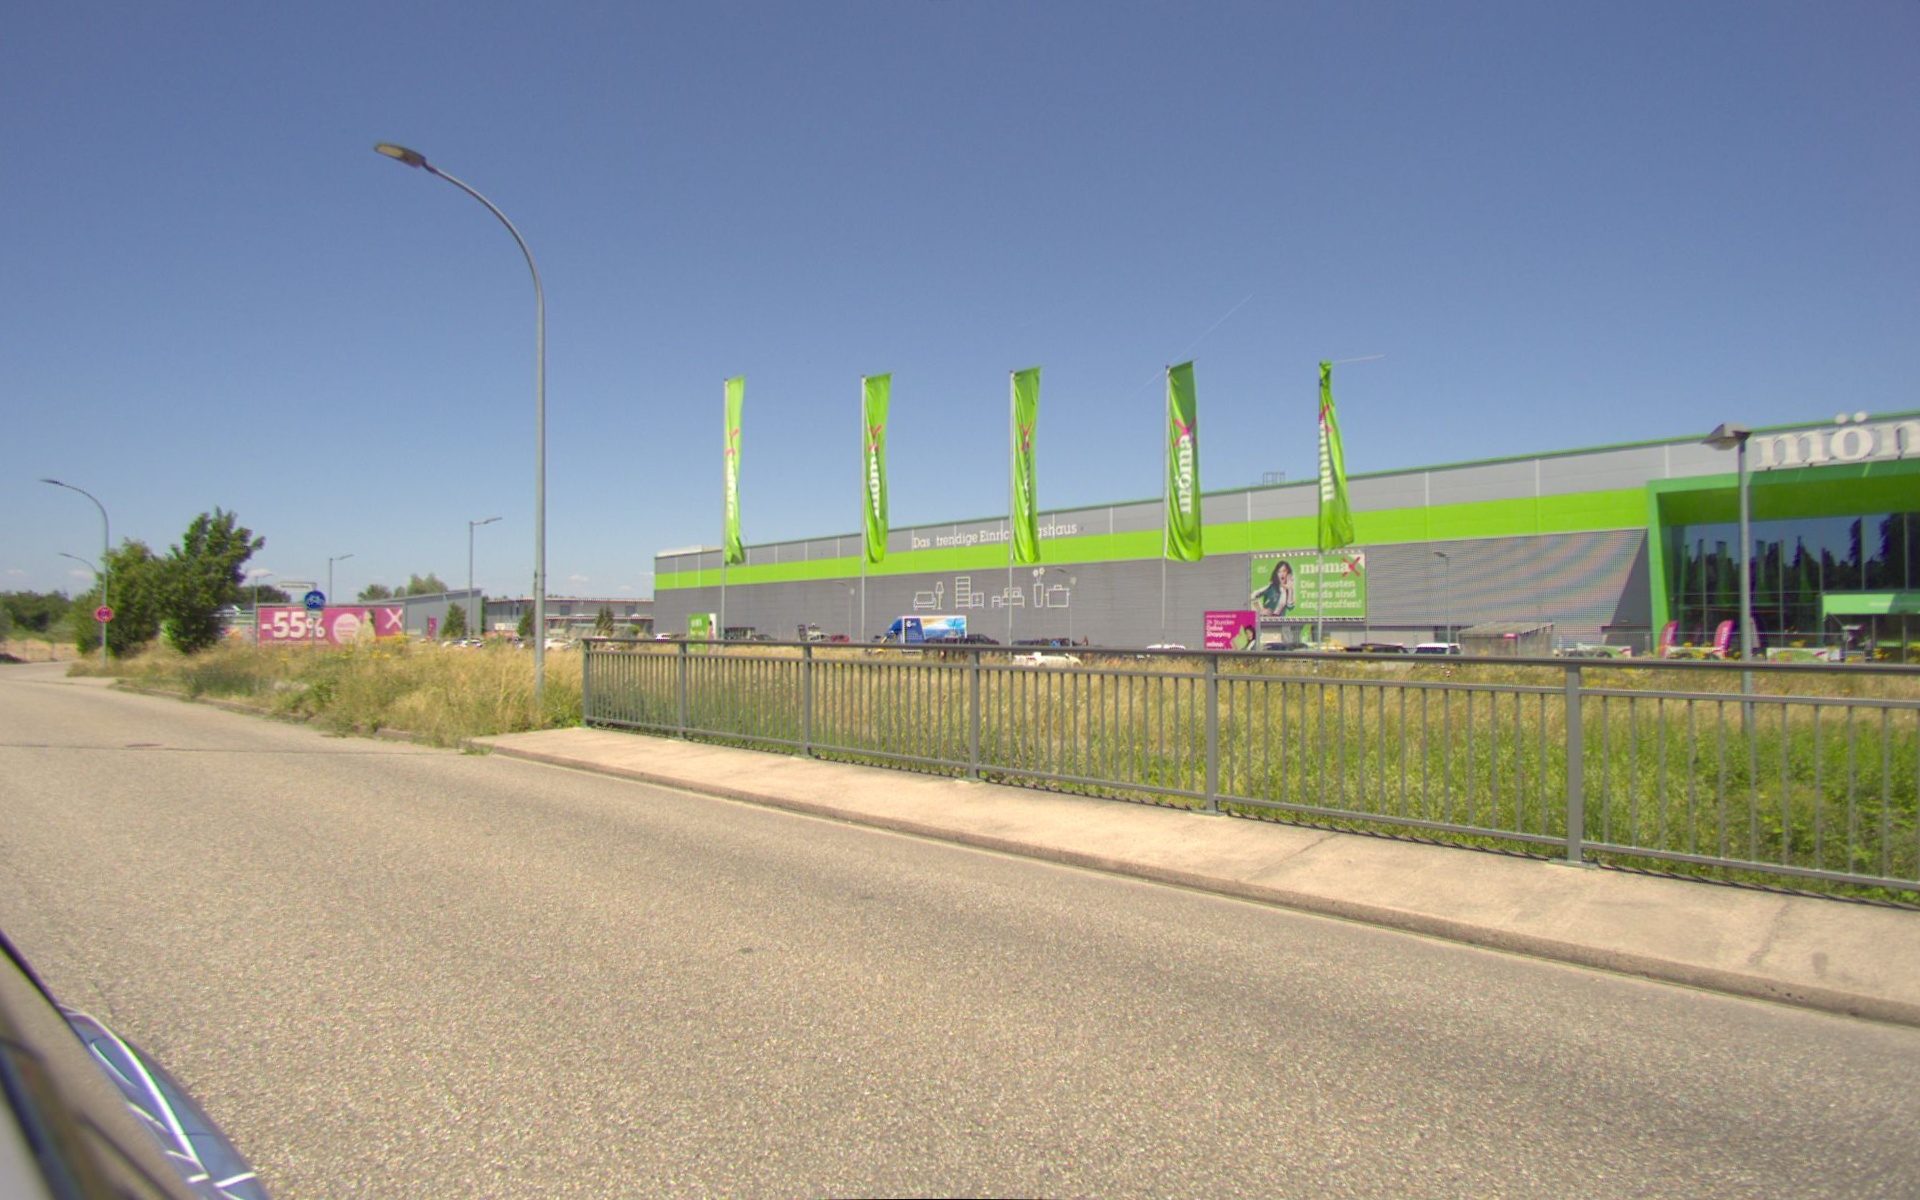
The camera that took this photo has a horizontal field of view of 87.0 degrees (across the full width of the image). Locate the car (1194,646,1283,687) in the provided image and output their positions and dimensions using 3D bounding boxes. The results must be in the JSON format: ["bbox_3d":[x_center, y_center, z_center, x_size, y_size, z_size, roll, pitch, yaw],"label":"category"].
[{"bbox_3d":[11.934,2.805,43.270,2.001,1.455,3.942,-3,-2,44],"label":"car"}]

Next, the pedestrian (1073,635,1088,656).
[{"bbox_3d":[8.686,3.271,73.032,0.766,1.463,0.630,-3,-2,42],"label":"pedestrian"}]

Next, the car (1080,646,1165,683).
[{"bbox_3d":[7.674,3.010,47.691,2.001,1.524,3.942,-3,-2,44],"label":"car"}]

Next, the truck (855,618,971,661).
[{"bbox_3d":[-3.356,2.746,70.798,7.650,2.704,2.968,-2,-2,-10],"label":"truck"}]

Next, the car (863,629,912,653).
[{"bbox_3d":[-6.535,3.685,91.461,3.937,2.029,2.003,-1,-1,-40],"label":"car"}]

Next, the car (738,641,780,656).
[{"bbox_3d":[-21.670,5.200,109.242,3.939,1.534,2.002,1,-4,-43],"label":"car"}]

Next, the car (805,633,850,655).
[{"bbox_3d":[-12.928,4.297,98.806,3.940,2.029,1.912,-1,-2,-44],"label":"car"}]

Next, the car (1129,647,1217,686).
[{"bbox_3d":[9.505,2.932,45.097,2.001,1.441,3.942,-3,-2,44],"label":"car"}]

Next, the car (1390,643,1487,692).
[{"bbox_3d":[17.599,2.438,37.138,2.001,1.524,3.942,-3,-2,44],"label":"car"}]

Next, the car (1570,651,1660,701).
[{"bbox_3d":[24.148,2.758,37.280,2.001,1.524,3.942,-3,-2,44],"label":"car"}]

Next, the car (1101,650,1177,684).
[{"bbox_3d":[9.377,3.448,52.872,2.001,1.524,3.942,-3,-2,44],"label":"car"}]

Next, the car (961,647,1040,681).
[{"bbox_3d":[2.155,3.325,53.218,2.001,1.524,3.942,-3,-2,44],"label":"car"}]

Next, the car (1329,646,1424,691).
[{"bbox_3d":[15.975,2.588,38.722,2.001,1.427,3.942,-3,-2,44],"label":"car"}]

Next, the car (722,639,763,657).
[{"bbox_3d":[-23.816,5.219,111.017,3.940,1.752,2.002,-1,-1,-44],"label":"car"}]

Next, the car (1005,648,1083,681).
[{"bbox_3d":[4.325,3.252,51.554,1.847,1.448,3.942,-3,-2,44],"label":"car"}]

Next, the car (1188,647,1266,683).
[{"bbox_3d":[13.259,3.208,50.098,2.001,1.524,3.942,-3,-2,44],"label":"car"}]

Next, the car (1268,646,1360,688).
[{"bbox_3d":[14.393,2.686,41.090,2.001,1.420,3.942,-3,-2,44],"label":"car"}]

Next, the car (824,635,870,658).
[{"bbox_3d":[-10.827,4.441,97.220,3.941,2.029,2.001,-1,-2,-45],"label":"car"}]

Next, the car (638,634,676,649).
[{"bbox_3d":[-36.631,5.013,122.538,3.940,1.752,2.002,-1,-1,-44],"label":"car"}]

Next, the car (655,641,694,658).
[{"bbox_3d":[-33.941,5.849,120.304,3.940,1.752,2.002,-1,-1,-44],"label":"car"}]

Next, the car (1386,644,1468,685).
[{"bbox_3d":[20.279,2.764,43.893,2.001,1.524,3.942,-3,-2,44],"label":"car"}]

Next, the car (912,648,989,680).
[{"bbox_3d":[-0.493,3.486,55.707,2.001,1.478,3.942,-3,-2,44],"label":"car"}]

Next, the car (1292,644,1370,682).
[{"bbox_3d":[17.735,2.980,48.337,2.001,1.524,3.942,-3,-2,44],"label":"car"}]

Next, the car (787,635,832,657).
[{"bbox_3d":[-15.047,4.601,101.161,3.936,2.029,1.915,-1,-1,-39],"label":"car"}]
